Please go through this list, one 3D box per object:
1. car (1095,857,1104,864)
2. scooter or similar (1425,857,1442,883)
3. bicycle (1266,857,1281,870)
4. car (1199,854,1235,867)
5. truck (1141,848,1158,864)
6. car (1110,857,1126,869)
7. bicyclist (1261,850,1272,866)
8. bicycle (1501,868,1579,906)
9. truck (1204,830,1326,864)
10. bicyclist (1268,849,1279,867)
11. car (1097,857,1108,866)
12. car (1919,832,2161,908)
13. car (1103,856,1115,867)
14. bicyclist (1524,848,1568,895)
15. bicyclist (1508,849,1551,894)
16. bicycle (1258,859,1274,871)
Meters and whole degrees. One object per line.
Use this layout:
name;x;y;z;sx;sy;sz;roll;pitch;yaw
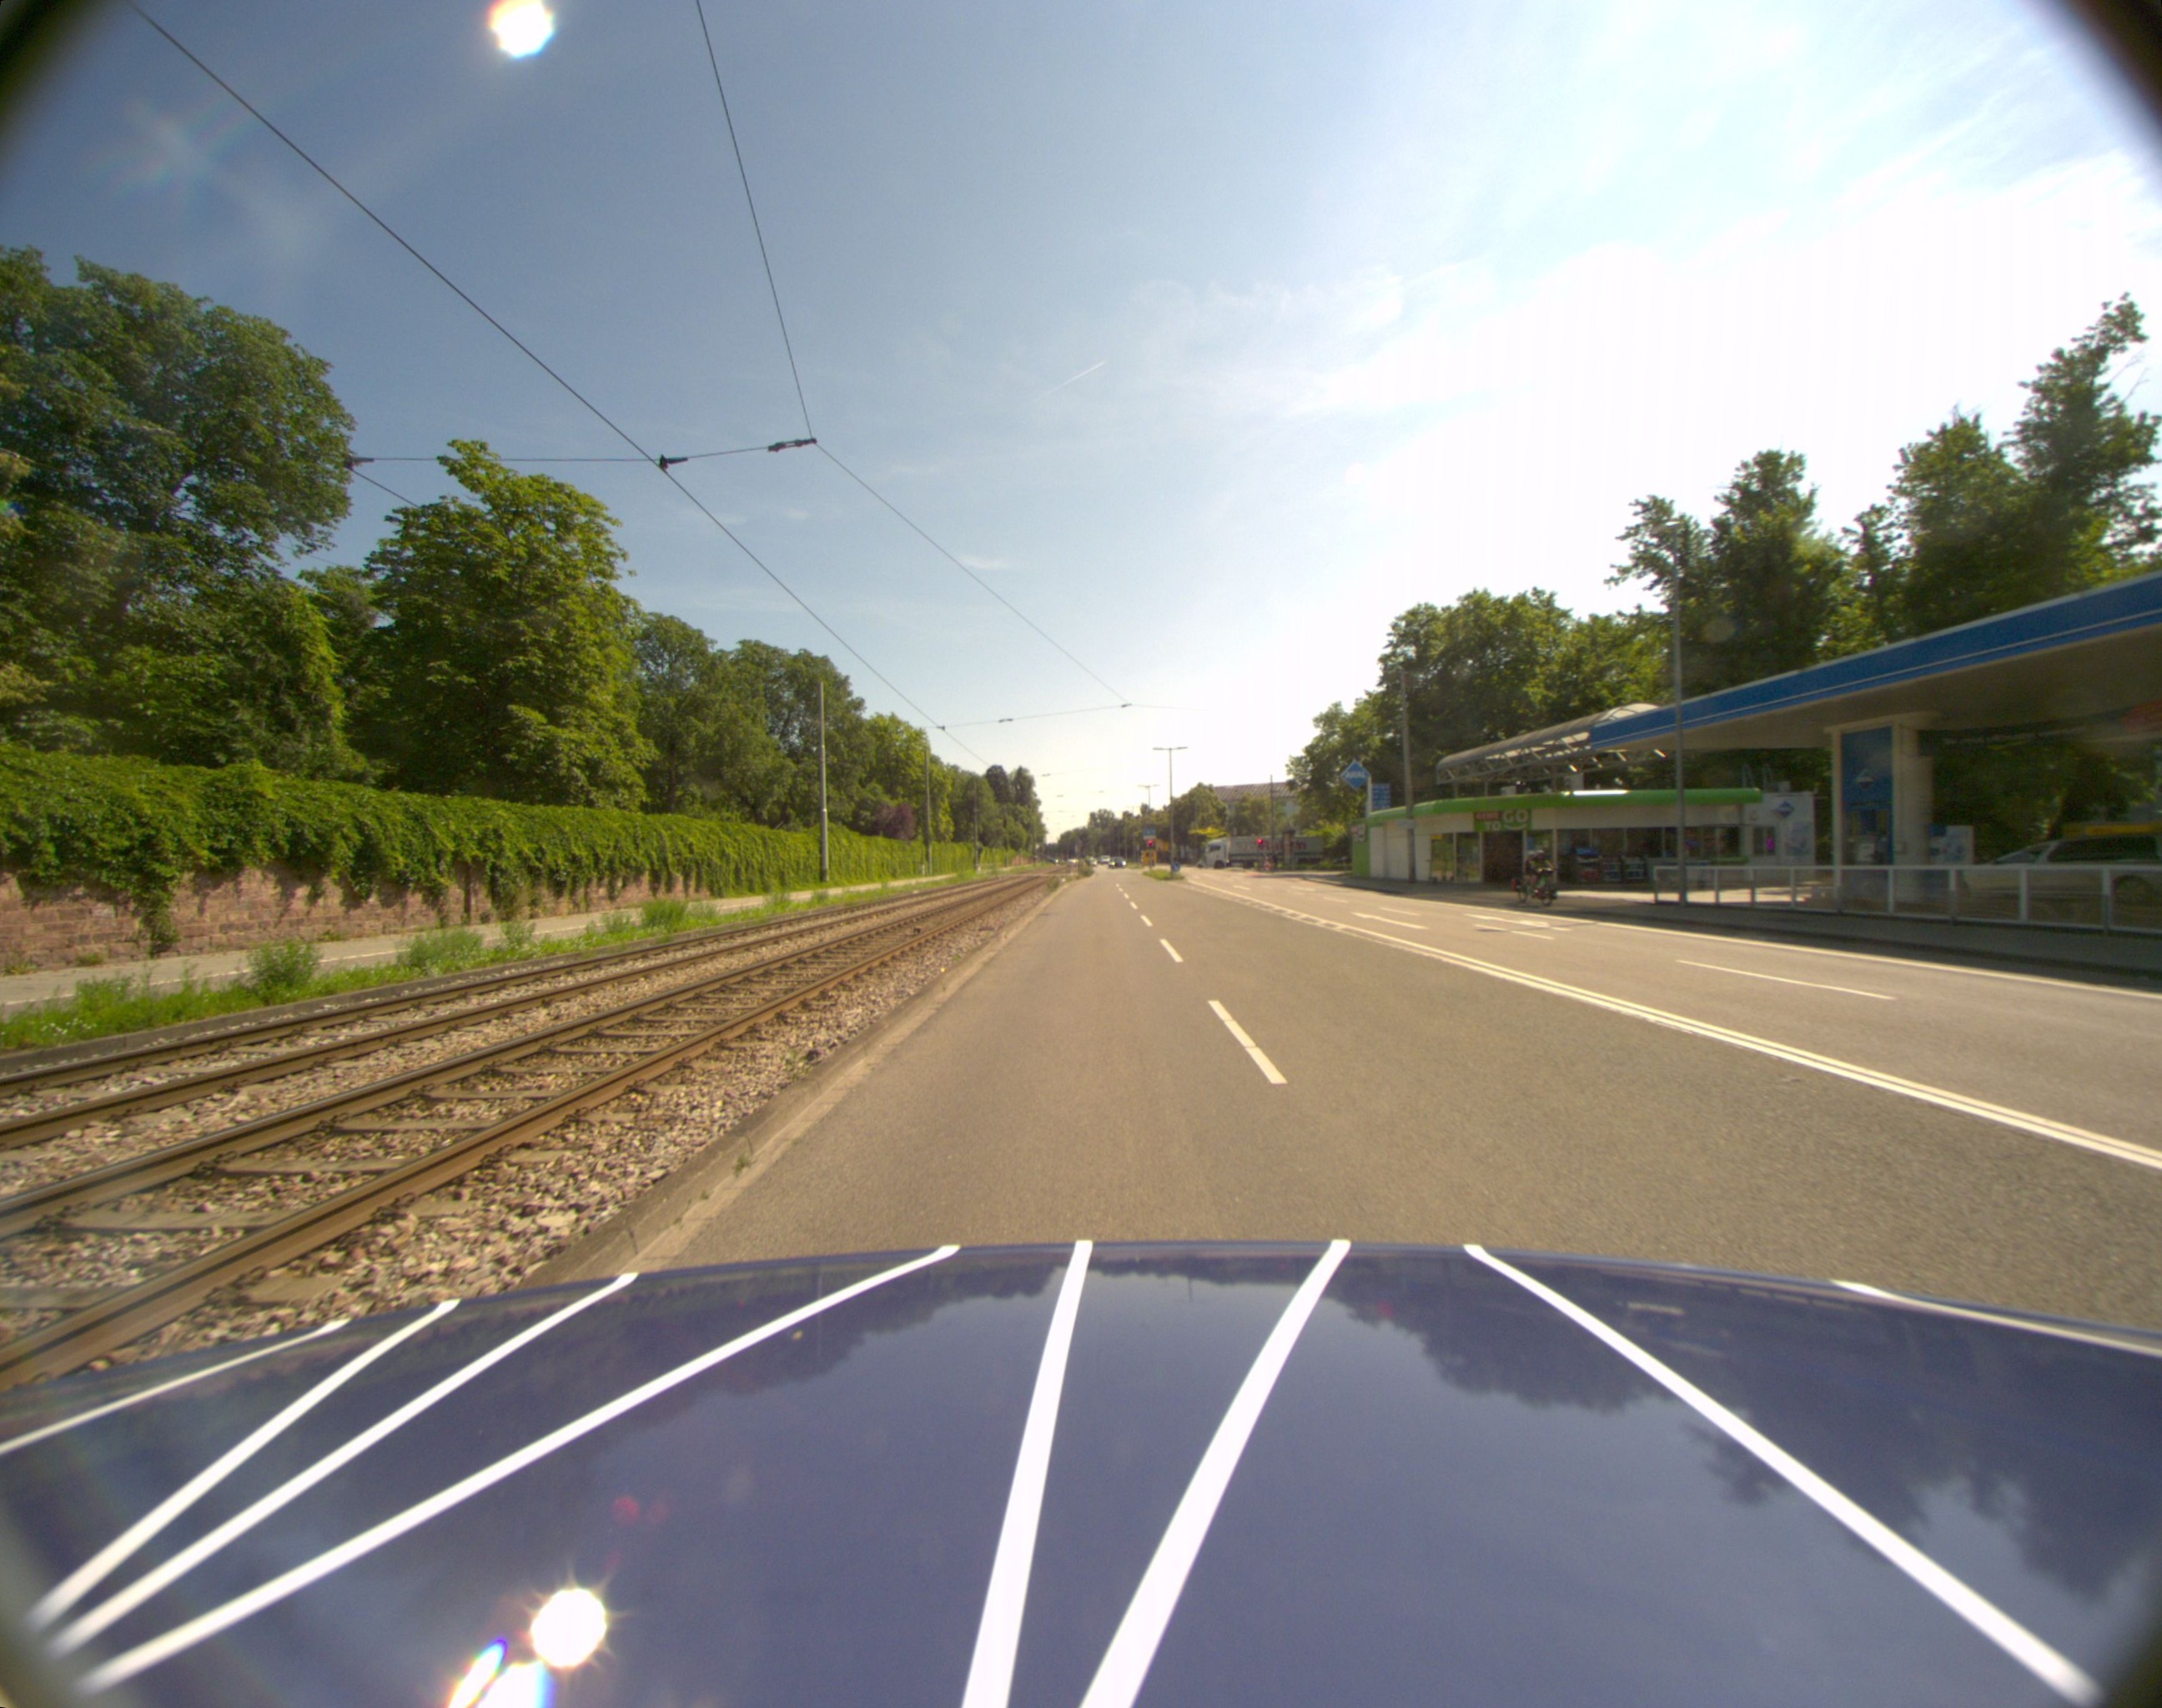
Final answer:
car;4.669;1.580;191.710;1.931;1.593;4.467;-2;0;-2
scooter or similar;17.390;0.791;37.500;0.442;1.230;1.346;-1;0;11
bicycle;18.085;0.911;71.431;0.939;1.168;2.211;-1;0;3
car;17.758;0.837;99.508;4.386;1.501;1.760;-3;-2;44
truck;11.110;0.327;123.866;2.336;2.652;7.361;0;0;2
car;5.244;1.260;107.765;1.755;1.573;4.504;-1;0;-4
bicyclist;16.935;0.354;69.496;0.710;1.412;0.739;-2;-1;-7
bicycle;14.553;1.022;24.217;0.827;1.088;2.773;-5;-1;3
truck;22.471;-0.821;93.600;14.287;3.984;2.856;-1;0;4
bicyclist;18.059;0.381;71.278;0.837;1.664;0.827;-2;-1;1
car;3.866;1.361;137.744;1.930;1.593;4.468;-2;0;0
car;26.317;0.374;20.057;1.848;1.771;5.965;-1;0;1
car;6.220;1.606;170.023;2.264;2.336;5.230;-2;0;-1
bicyclist;14.616;0.552;23.906;0.849;1.427;0.833;-1;-2;3
bicyclist;14.611;0.565;24.772;0.849;1.427;0.833;-2;-1;2
bicycle;16.966;0.989;69.679;0.753;1.051;2.074;-1;0;-7
